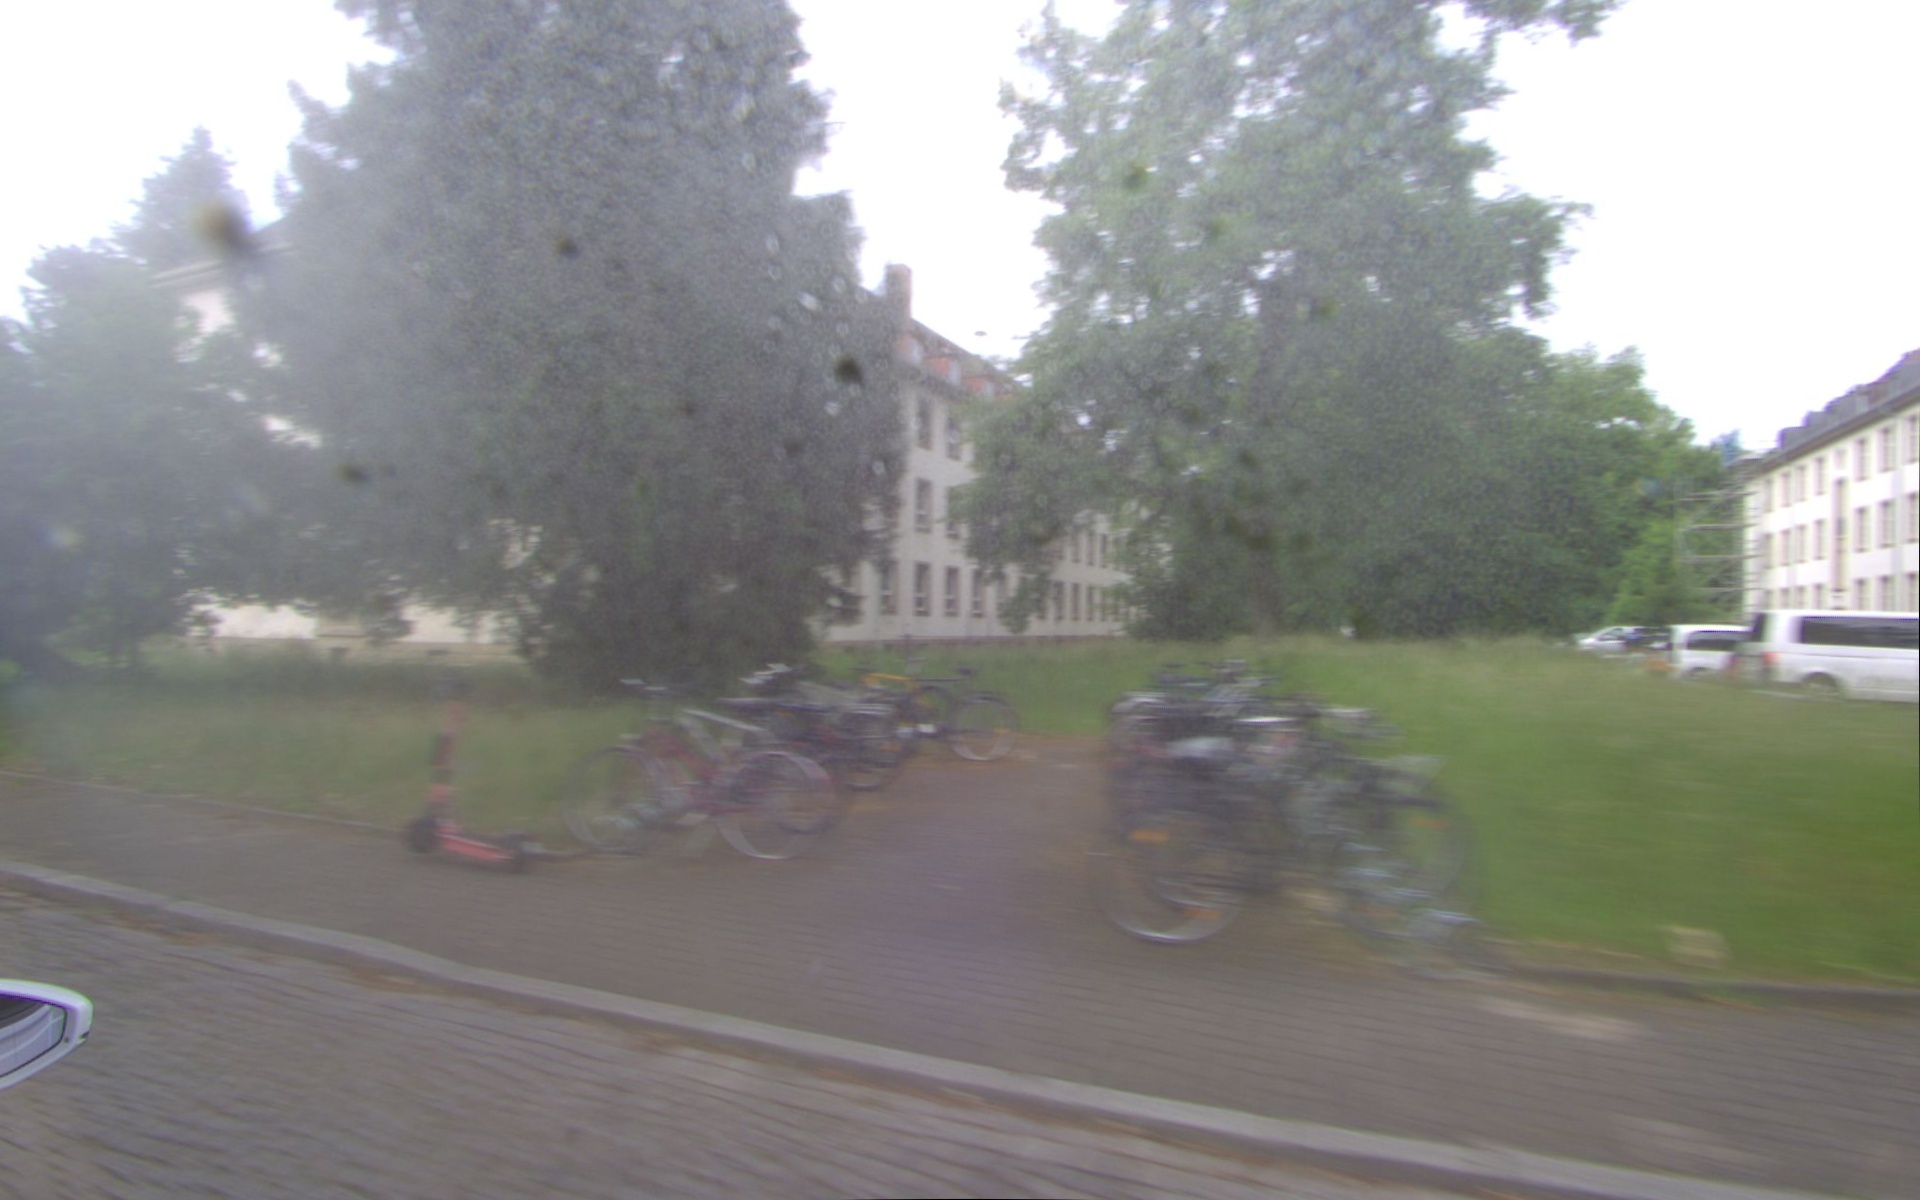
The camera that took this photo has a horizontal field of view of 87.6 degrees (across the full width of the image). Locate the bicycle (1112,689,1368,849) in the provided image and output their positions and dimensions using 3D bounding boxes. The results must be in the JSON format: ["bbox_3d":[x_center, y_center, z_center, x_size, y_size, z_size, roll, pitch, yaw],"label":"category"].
[{"bbox_3d":[1.888,1.137,6.916,1.636,1.021,0.478,-1,-1,9],"label":"bicycle"}]

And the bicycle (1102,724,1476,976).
[{"bbox_3d":[1.504,1.126,4.673,1.591,1.021,0.478,0,-1,-6],"label":"bicycle"}]

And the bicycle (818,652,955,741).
[{"bbox_3d":[-0.932,1.214,12.792,1.651,1.055,0.551,1,-1,11],"label":"bicycle"}]

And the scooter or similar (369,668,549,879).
[{"bbox_3d":[-3.198,1.068,6.385,1.118,1.225,0.357,0,-1,21],"label":"scooter or similar"}]

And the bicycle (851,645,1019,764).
[{"bbox_3d":[-0.270,1.105,10.874,1.722,1.186,0.551,0,-1,17],"label":"bicycle"}]

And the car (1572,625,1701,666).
[{"bbox_3d":[29.521,1.976,43.829,4.471,1.669,1.464,0,-1,25],"label":"car"}]

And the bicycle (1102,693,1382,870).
[{"bbox_3d":[1.728,1.115,6.315,1.636,1.021,0.478,-1,-1,9],"label":"bicycle"}]

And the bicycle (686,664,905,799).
[{"bbox_3d":[-1.397,1.122,8.703,1.790,1.079,0.618,1,-1,0],"label":"bicycle"}]

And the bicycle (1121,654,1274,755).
[{"bbox_3d":[2.794,1.220,11.893,1.731,1.126,0.478,1,-1,9],"label":"bicycle"}]

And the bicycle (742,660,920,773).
[{"bbox_3d":[-1.284,1.167,10.157,1.720,1.079,0.551,1,-1,0],"label":"bicycle"}]

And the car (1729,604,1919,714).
[{"bbox_3d":[18.227,1.112,19.187,5.190,2.022,1.963,0,-1,25],"label":"car"}]

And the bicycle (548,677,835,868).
[{"bbox_3d":[-1.753,1.102,6.620,1.735,1.129,0.551,1,-1,8],"label":"bicycle"}]

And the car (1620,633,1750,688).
[{"bbox_3d":[23.533,1.925,32.630,3.196,1.682,1.436,0,-1,25],"label":"car"}]

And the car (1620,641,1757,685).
[{"bbox_3d":[22.293,1.907,30.751,3.196,1.233,1.293,0,-1,25],"label":"car"}]

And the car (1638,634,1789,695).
[{"bbox_3d":[21.303,1.792,28.445,3.196,1.585,1.327,0,-1,25],"label":"car"}]

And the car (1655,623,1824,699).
[{"bbox_3d":[20.373,1.565,26.327,3.196,1.867,1.599,0,-1,25],"label":"car"}]

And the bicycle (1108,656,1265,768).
[{"bbox_3d":[2.443,1.187,10.855,1.621,1.126,0.442,0,-1,15],"label":"bicycle"}]

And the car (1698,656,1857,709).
[{"bbox_3d":[19.304,1.935,23.763,2.658,1.098,1.307,0,-1,25],"label":"car"}]

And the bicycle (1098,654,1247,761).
[{"bbox_3d":[2.412,1.203,11.413,1.621,1.126,0.442,0,-1,15],"label":"bicycle"}]

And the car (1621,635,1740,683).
[{"bbox_3d":[25.373,2.061,35.374,3.196,1.585,1.380,0,-1,25],"label":"car"}]

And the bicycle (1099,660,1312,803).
[{"bbox_3d":[2.078,1.106,8.628,1.731,1.126,0.478,1,-1,9],"label":"bicycle"}]

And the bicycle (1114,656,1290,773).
[{"bbox_3d":[2.483,1.168,10.398,1.731,1.126,0.478,1,-1,9],"label":"bicycle"}]

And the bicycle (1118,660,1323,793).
[{"bbox_3d":[2.340,1.126,9.093,1.731,1.126,0.478,1,-1,3],"label":"bicycle"}]

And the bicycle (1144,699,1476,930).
[{"bbox_3d":[1.825,1.098,5.304,1.591,1.087,0.478,0,-1,-6],"label":"bicycle"}]

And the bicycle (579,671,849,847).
[{"bbox_3d":[-1.727,1.094,7.114,1.770,1.129,0.551,1,-1,8],"label":"bicycle"}]

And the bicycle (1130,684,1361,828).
[{"bbox_3d":[2.137,1.165,7.651,1.636,1.021,0.478,-1,-1,9],"label":"bicycle"}]

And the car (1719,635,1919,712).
[{"bbox_3d":[18.628,1.547,21.744,3.196,1.547,1.307,0,-1,25],"label":"car"}]
